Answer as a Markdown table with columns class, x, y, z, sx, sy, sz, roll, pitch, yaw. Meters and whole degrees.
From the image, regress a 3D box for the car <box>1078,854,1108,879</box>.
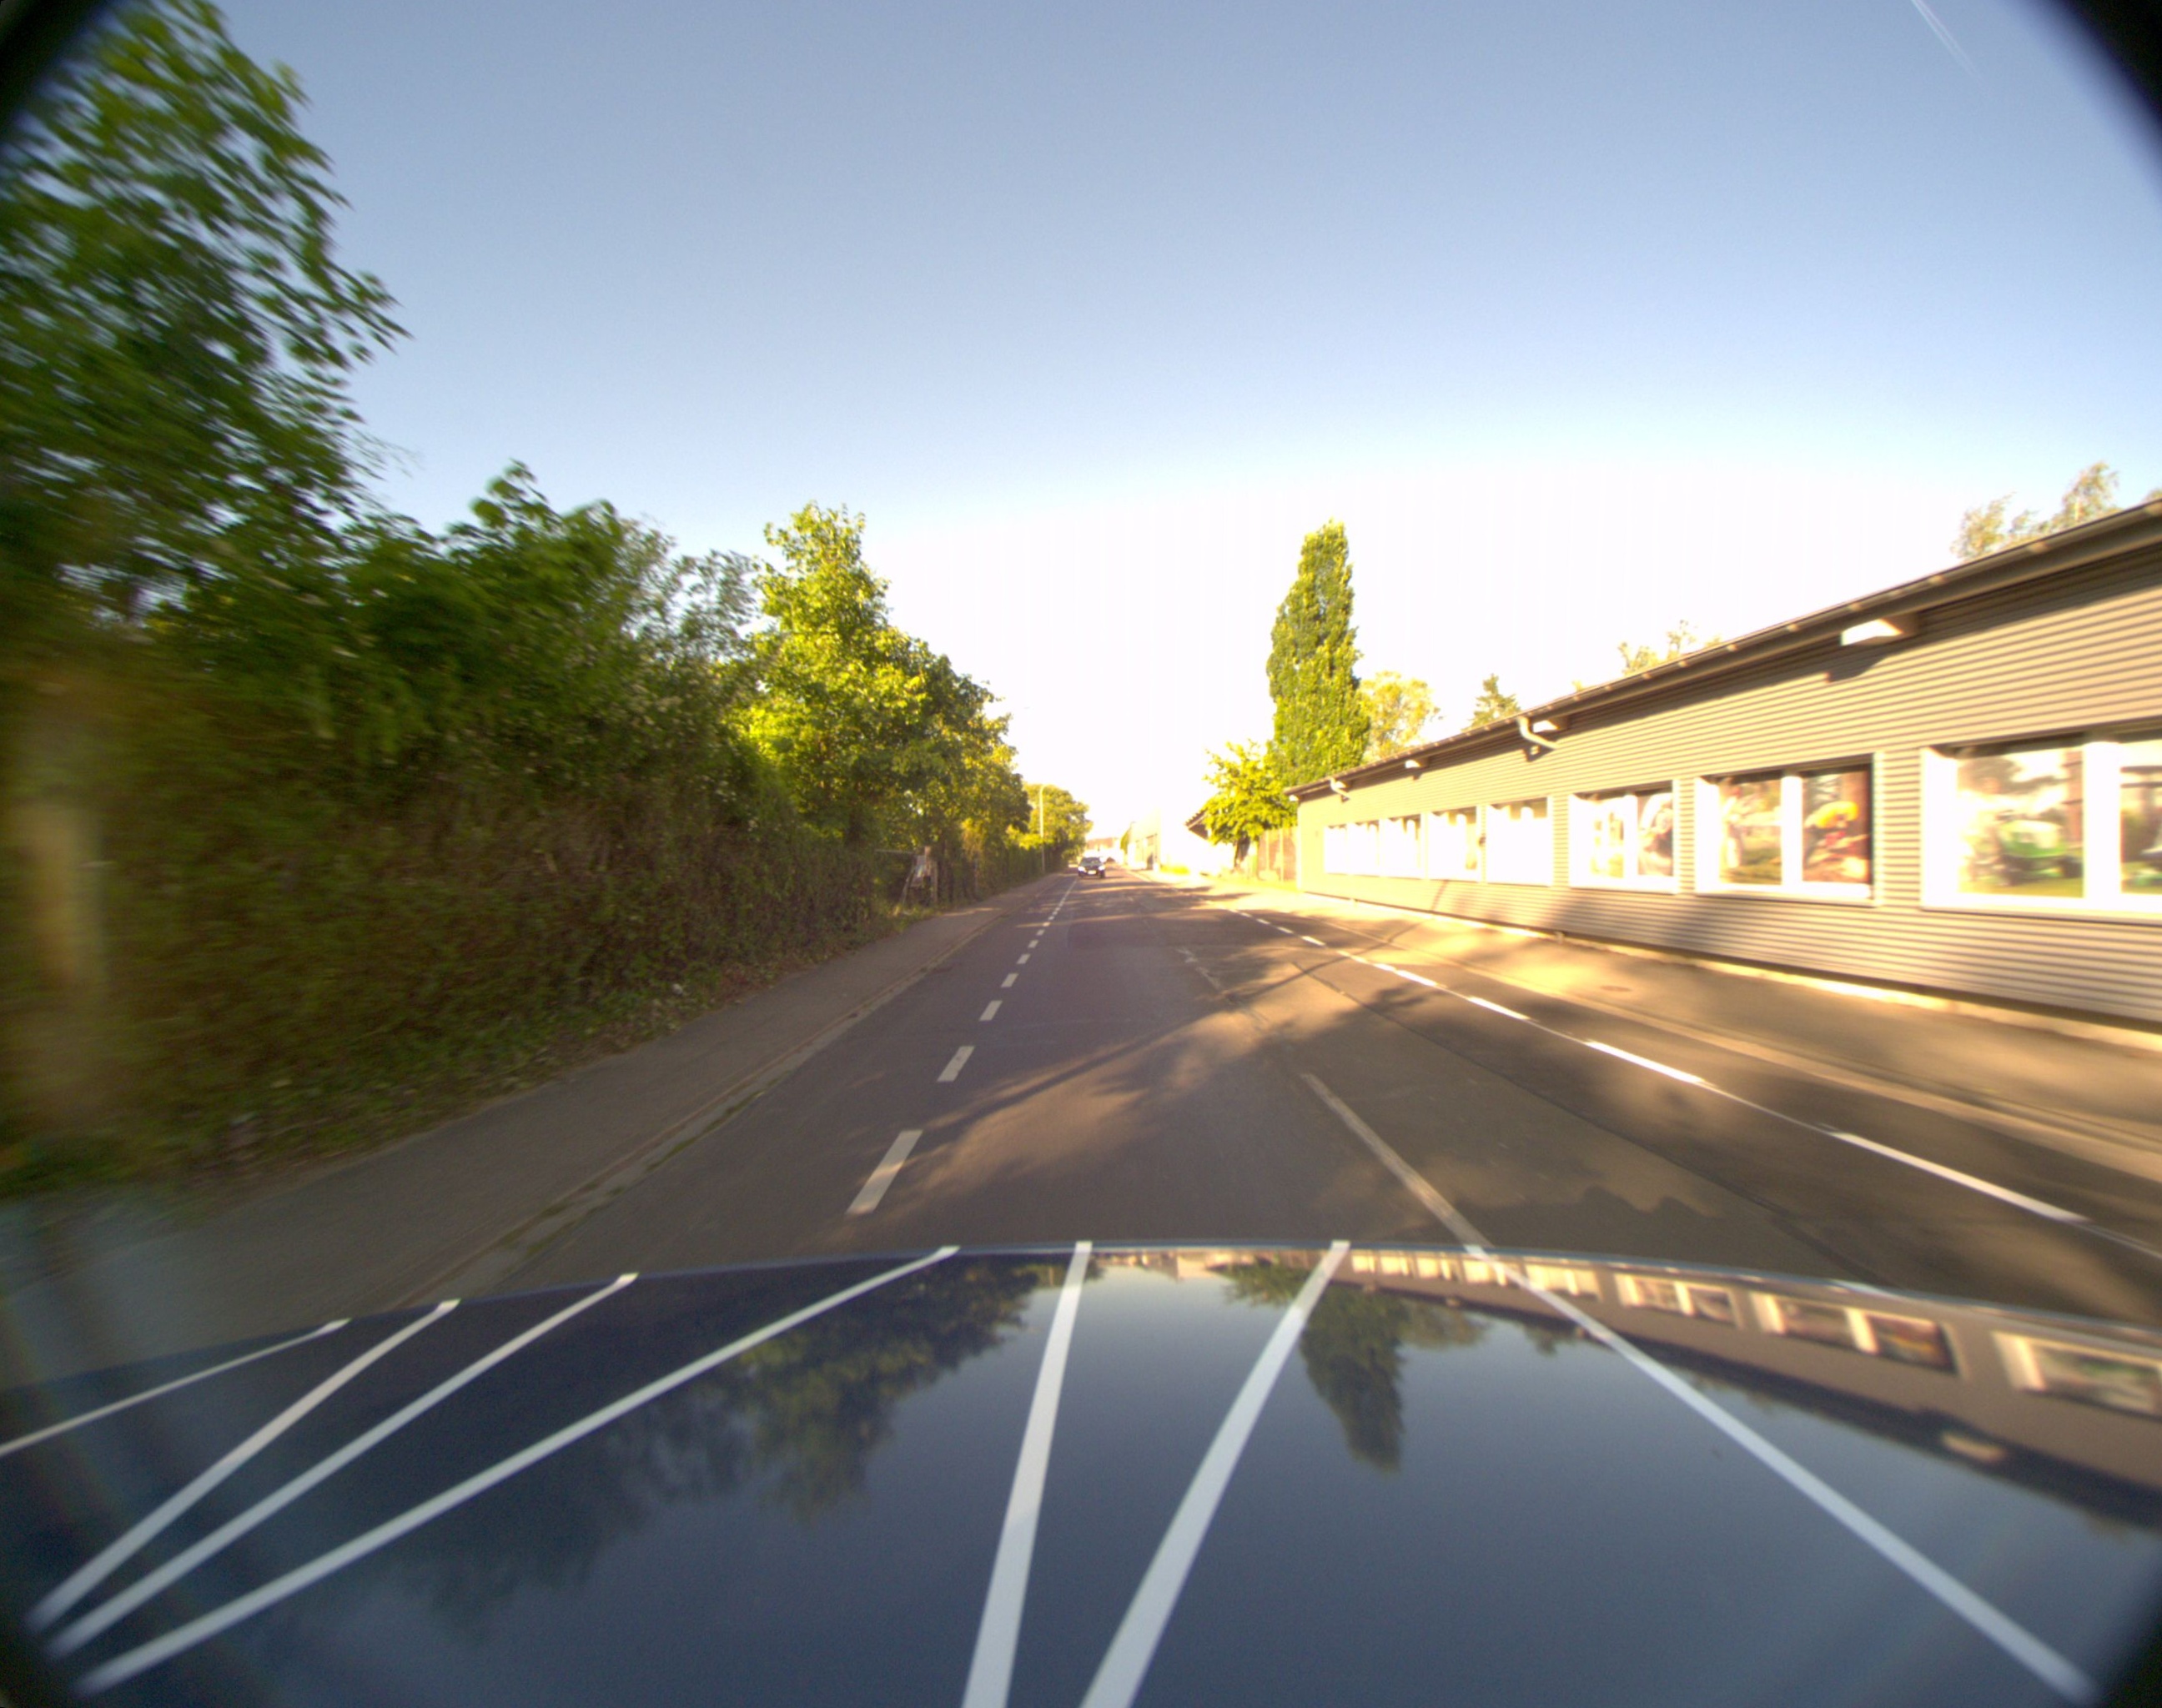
| class | x | y | z | sx | sy | sz | roll | pitch | yaw |
| --- | --- | --- | --- | --- | --- | --- | --- | --- | --- |
| car | 0.863 | 0.860 | 55.547 | 2.037 | 1.624 | 4.612 | -2 | 1 | 0 |

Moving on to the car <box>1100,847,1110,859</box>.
| class | x | y | z | sx | sy | sz | roll | pitch | yaw |
| --- | --- | --- | --- | --- | --- | --- | --- | --- | --- |
| car | 5.524 | -0.261 | 178.894 | 2.128 | 2.764 | 5.925 | 1 | 1 | 0 |

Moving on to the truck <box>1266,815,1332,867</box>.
| class | x | y | z | sx | sy | sz | roll | pitch | yaw |
| --- | --- | --- | --- | --- | --- | --- | --- | --- | --- |
| truck | 12.345 | -0.688 | 43.417 | 2.084 | 2.745 | 5.764 | -1 | 0 | 0 |
